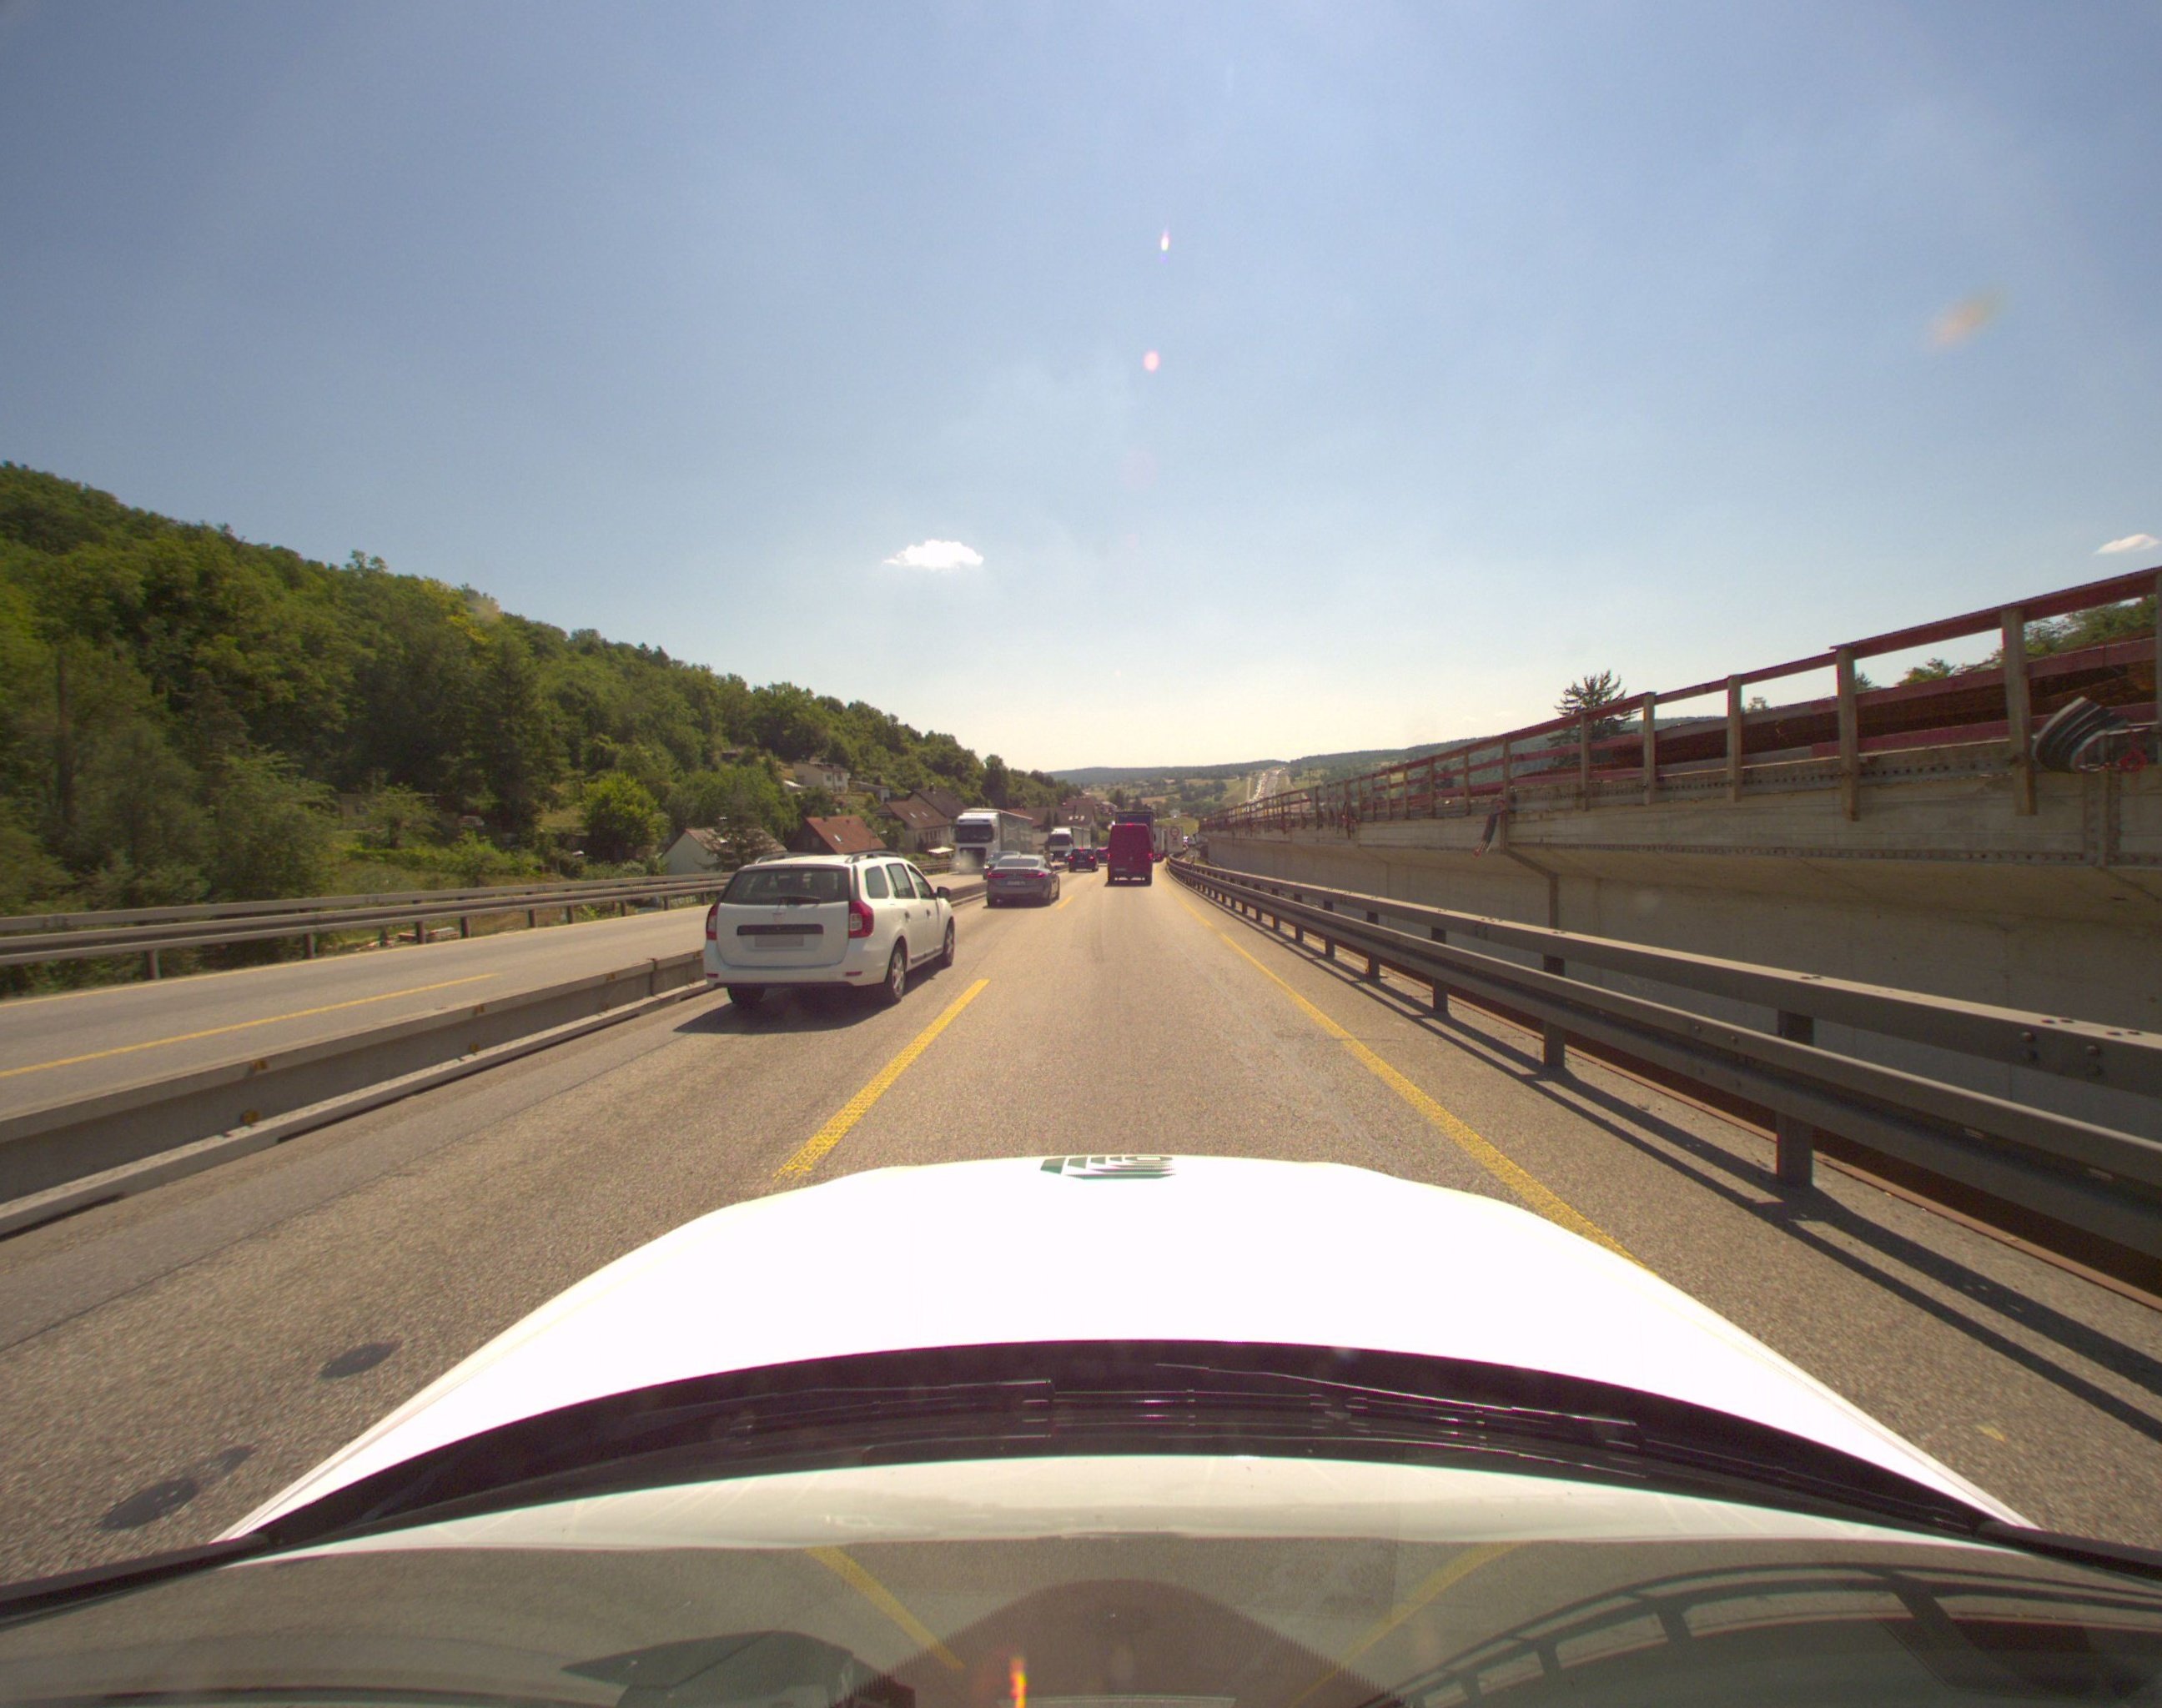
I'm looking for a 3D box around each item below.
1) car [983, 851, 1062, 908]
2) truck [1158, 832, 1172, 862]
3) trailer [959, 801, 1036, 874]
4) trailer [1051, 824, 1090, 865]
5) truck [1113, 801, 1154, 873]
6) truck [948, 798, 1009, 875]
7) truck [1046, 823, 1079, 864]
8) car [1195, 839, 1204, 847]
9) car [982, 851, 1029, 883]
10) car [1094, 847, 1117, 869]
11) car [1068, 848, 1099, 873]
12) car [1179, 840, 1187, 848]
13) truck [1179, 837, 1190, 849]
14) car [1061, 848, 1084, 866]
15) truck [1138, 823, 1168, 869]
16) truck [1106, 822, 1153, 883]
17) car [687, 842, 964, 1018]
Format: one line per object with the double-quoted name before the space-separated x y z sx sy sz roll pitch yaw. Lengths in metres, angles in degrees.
"car" -1.611 0.682 23.829 1.787 1.485 4.053 -1 0 3
"truck" 12.643 -1.002 122.558 1.983 4.381 4.008 0 -1 7
"trailer" -5.926 -1.014 61.033 3.049 4.815 14.022 0 -1 5
"trailer" -1.133 -1.029 101.483 2.818 4.641 14.611 0 -1 7
"truck" 3.709 -1.102 59.486 2.775 4.816 9.689 0 -1 2
"truck" -6.643 -1.093 53.510 3.046 4.821 4.652 0 -1 5
"truck" -2.105 -1.143 94.887 2.830 4.580 5.802 -1 -1 9
"car" 32.376 -2.991 222.946 2.117 2.014 4.013 -1 -1 12
"car" -4.042 0.688 44.174 1.986 1.640 4.854 0 -1 1
"car" 2.170 0.368 71.855 1.720 1.838 4.007 0 -1 6
"car" 0.207 0.454 55.217 1.801 1.608 3.724 0 -1 5
"car" 26.759 -2.632 213.314 1.791 2.013 4.013 0 0 12
"truck" 13.994 -1.536 110.160 1.307 1.542 3.157 0 -1 6
"car" -0.810 0.257 80.493 1.948 1.681 4.119 -1 0 4
"truck" 7.965 -0.786 90.870 2.775 4.816 9.689 0 -1 2
"truck" 2.206 -0.039 36.601 1.985 2.578 4.004 0 -1 4
"car" -2.576 0.692 9.365 1.645 1.483 4.268 -3 -1 2
